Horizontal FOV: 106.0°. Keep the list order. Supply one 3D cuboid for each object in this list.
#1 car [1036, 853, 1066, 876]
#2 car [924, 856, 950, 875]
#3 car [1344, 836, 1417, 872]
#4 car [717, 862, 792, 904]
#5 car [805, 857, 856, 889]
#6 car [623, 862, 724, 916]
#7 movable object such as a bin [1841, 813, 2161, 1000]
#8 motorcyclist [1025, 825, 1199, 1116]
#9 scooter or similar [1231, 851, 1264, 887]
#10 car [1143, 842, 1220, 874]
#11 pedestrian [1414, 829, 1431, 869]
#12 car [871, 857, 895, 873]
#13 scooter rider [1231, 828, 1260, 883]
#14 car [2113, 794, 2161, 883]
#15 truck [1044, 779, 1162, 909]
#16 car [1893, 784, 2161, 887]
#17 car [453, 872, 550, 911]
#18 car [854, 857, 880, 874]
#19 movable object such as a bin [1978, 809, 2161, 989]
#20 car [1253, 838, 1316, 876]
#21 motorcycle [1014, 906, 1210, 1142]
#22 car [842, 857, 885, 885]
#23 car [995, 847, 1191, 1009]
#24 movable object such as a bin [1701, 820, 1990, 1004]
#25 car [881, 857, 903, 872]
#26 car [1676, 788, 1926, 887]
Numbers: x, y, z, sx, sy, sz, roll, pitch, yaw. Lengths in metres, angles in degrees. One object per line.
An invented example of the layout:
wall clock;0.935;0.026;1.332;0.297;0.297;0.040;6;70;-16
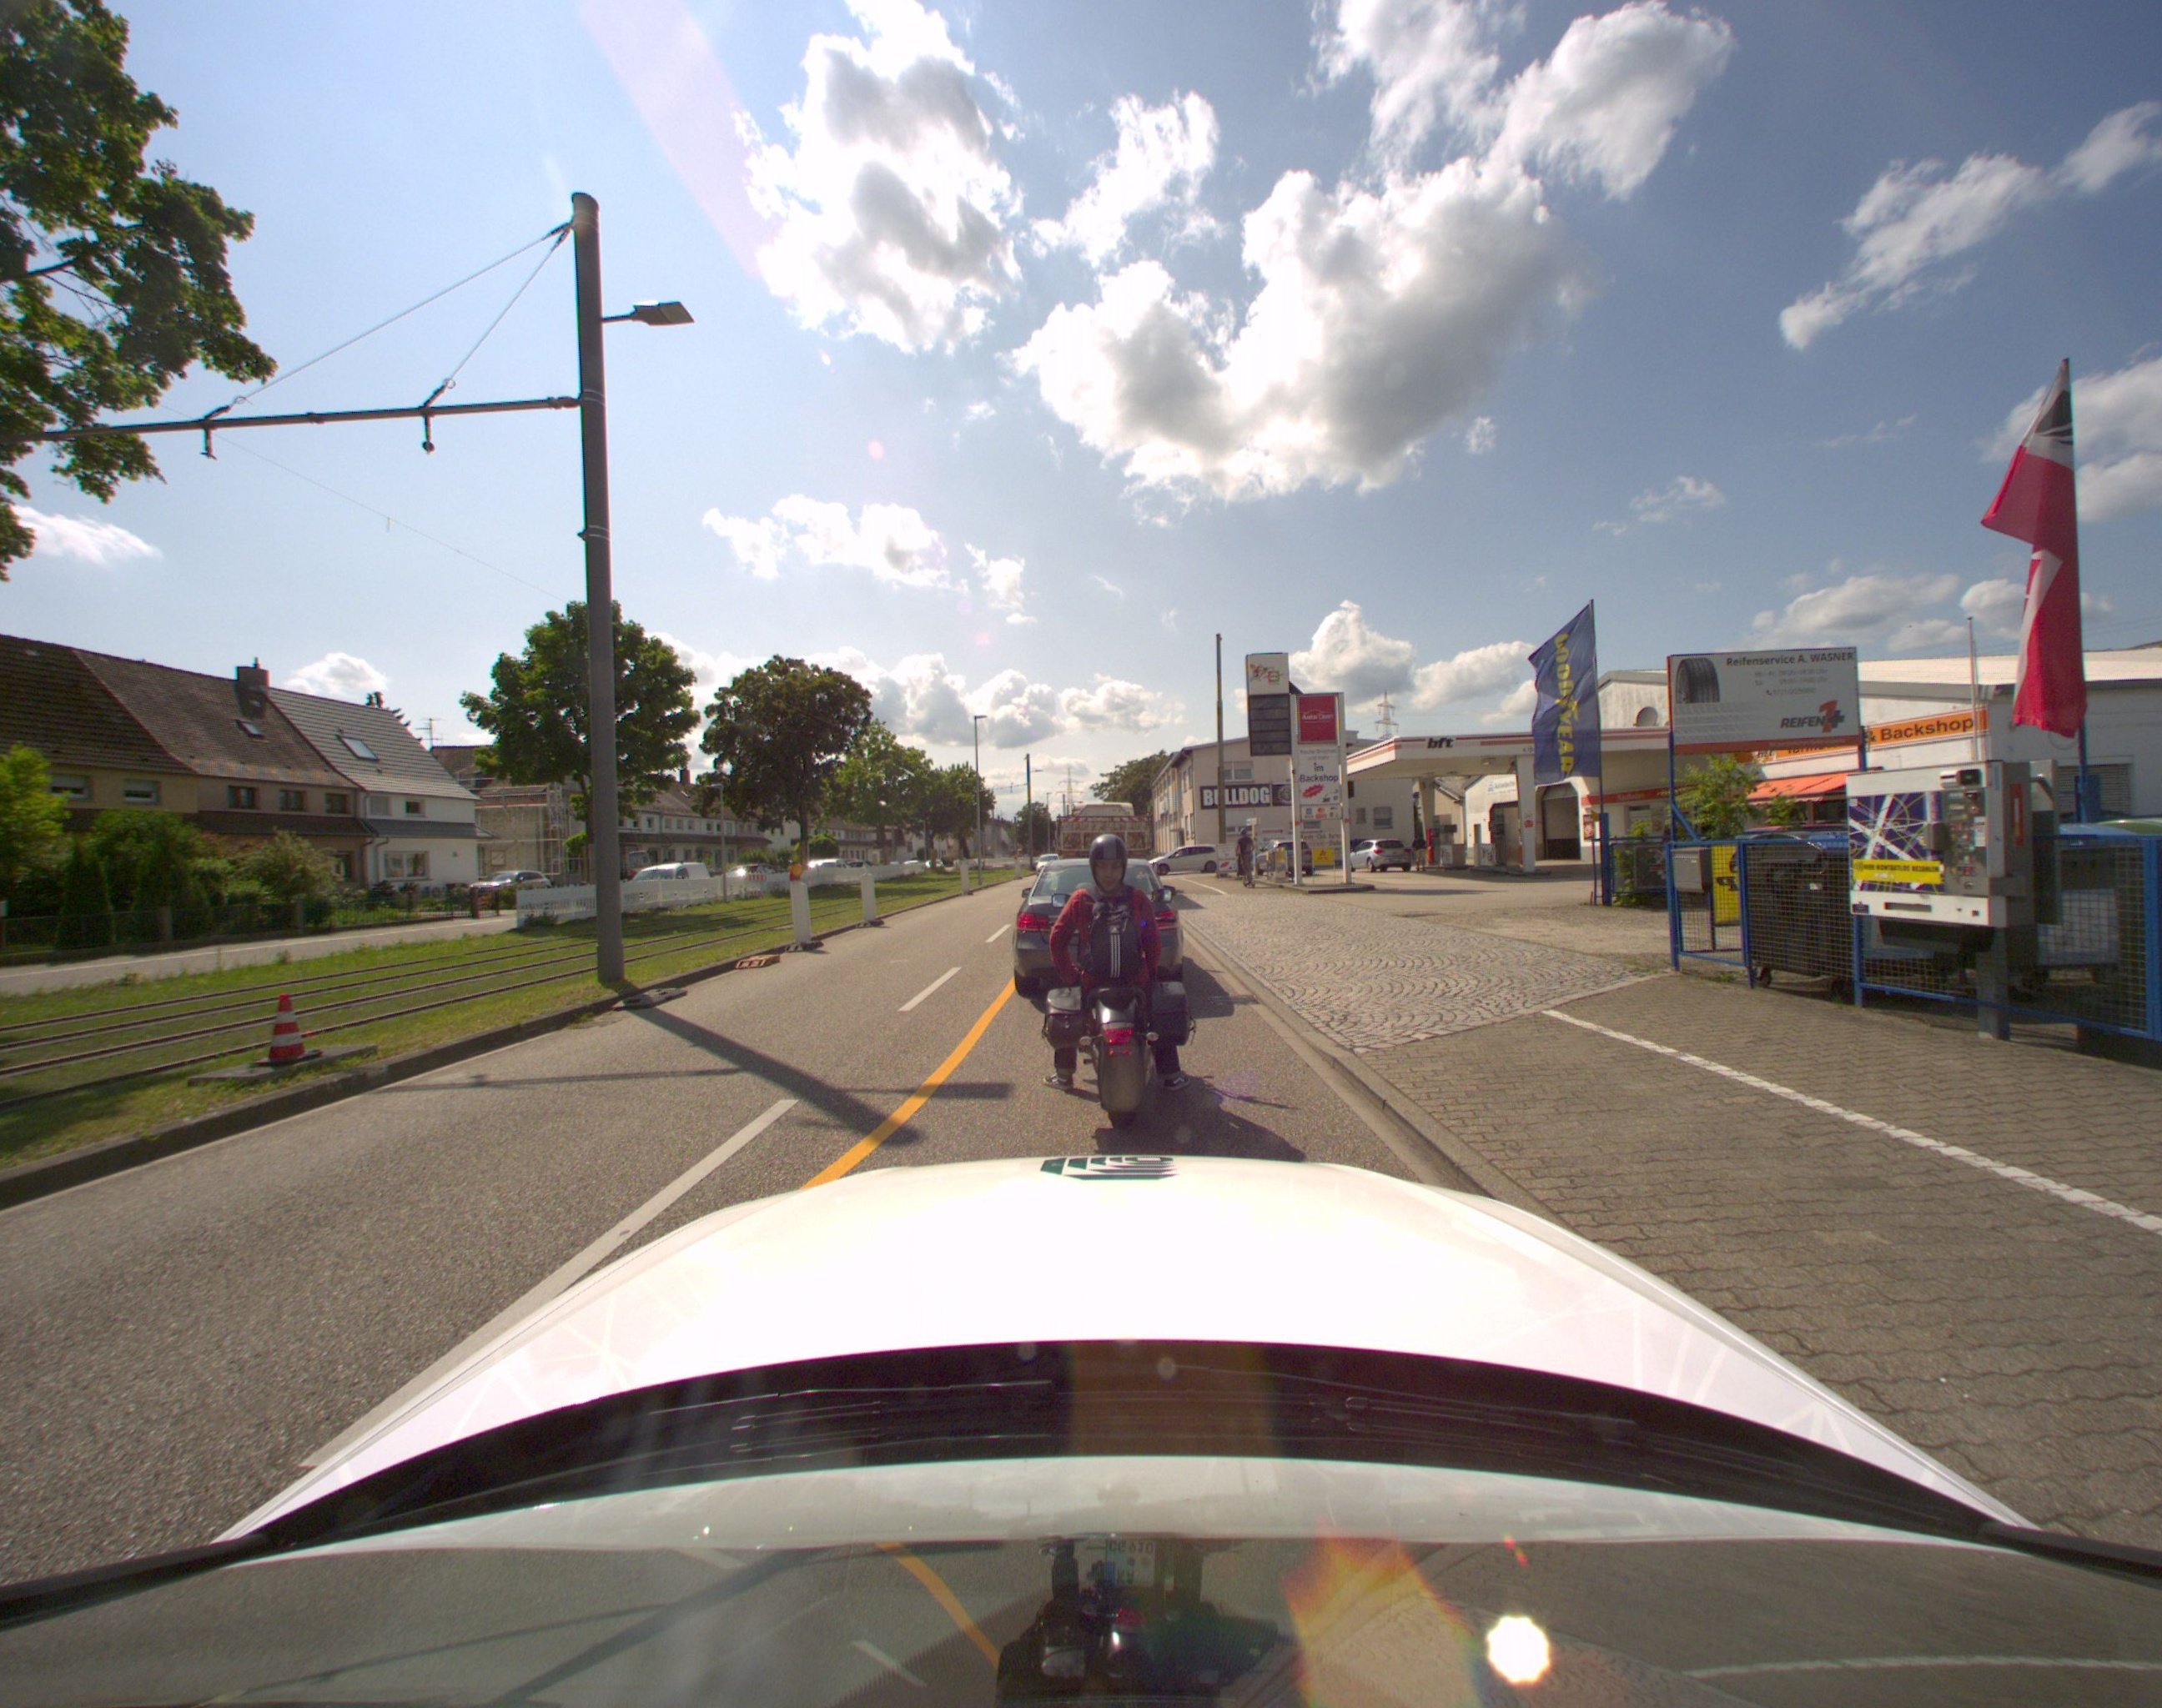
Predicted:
car;-1.968;0.672;54.870;1.709;1.413;4.264;-2;0;2
car;-14.182;1.153;80.473;1.692;1.739;3.862;-2;0;2
car;13.538;-0.022;37.069;1.826;1.479;4.009;-3;0;1
car;-15.326;1.328;38.488;1.692;1.739;4.056;-2;0;2
car;-15.134;1.116;49.393;1.692;1.739;3.862;-2;0;2
car;-15.418;1.281;31.057;1.692;1.817;3.862;-2;0;2
movable object such as a bin;8.103;0.417;7.280;1.222;1.454;1.455;-2;0;0
motorcyclist;0.193;0.656;5.196;0.966;1.633;1.215;-1;0;1
scooter or similar;5.522;0.490;27.121;0.792;1.144;1.520;-2;0;2
car;5.765;0.229;47.049;4.101;1.624;1.682;-3;0;-7
pedestrian;14.841;-0.209;35.388;0.628;1.683;0.626;-2;0;23
car;-24.054;1.339;99.189;1.692;1.739;4.064;-2;0;2
scooter rider;5.502;0.048;27.206;0.792;1.818;0.508;-2;0;1
car;26.351;-0.434;18.185;3.972;2.013;2.001;-2;0;1
truck;0.641;-0.280;25.605;2.960;3.304;8.407;-2;0;1
car;21.248;-0.400;18.269;3.972;2.013;2.001;-2;0;1
car;-27.479;1.735;38.794;1.692;1.593;3.862;-2;0;2
car;-24.464;1.304;93.140;1.692;1.739;4.064;-2;0;2
movable object such as a bin;9.448;0.337;7.191;1.425;1.454;1.455;-2;0;0
car;9.067;0.123;36.577;1.826;1.536;4.009;-3;0;1
motorcycle;0.194;0.934;5.314;0.972;1.013;2.433;-1;0;2
car;-14.868;1.143;55.759;1.692;1.739;3.862;-2;0;2
car;0.143;0.709;9.868;1.826;1.479;4.009;-3;0;1
movable object such as a bin;6.823;0.472;7.405;1.222;1.454;1.455;-2;0;0
car;-24.377;1.346;105.366;1.692;1.739;4.064;-2;0;2
car;16.601;-0.371;18.962;3.972;2.013;2.001;-2;0;1
